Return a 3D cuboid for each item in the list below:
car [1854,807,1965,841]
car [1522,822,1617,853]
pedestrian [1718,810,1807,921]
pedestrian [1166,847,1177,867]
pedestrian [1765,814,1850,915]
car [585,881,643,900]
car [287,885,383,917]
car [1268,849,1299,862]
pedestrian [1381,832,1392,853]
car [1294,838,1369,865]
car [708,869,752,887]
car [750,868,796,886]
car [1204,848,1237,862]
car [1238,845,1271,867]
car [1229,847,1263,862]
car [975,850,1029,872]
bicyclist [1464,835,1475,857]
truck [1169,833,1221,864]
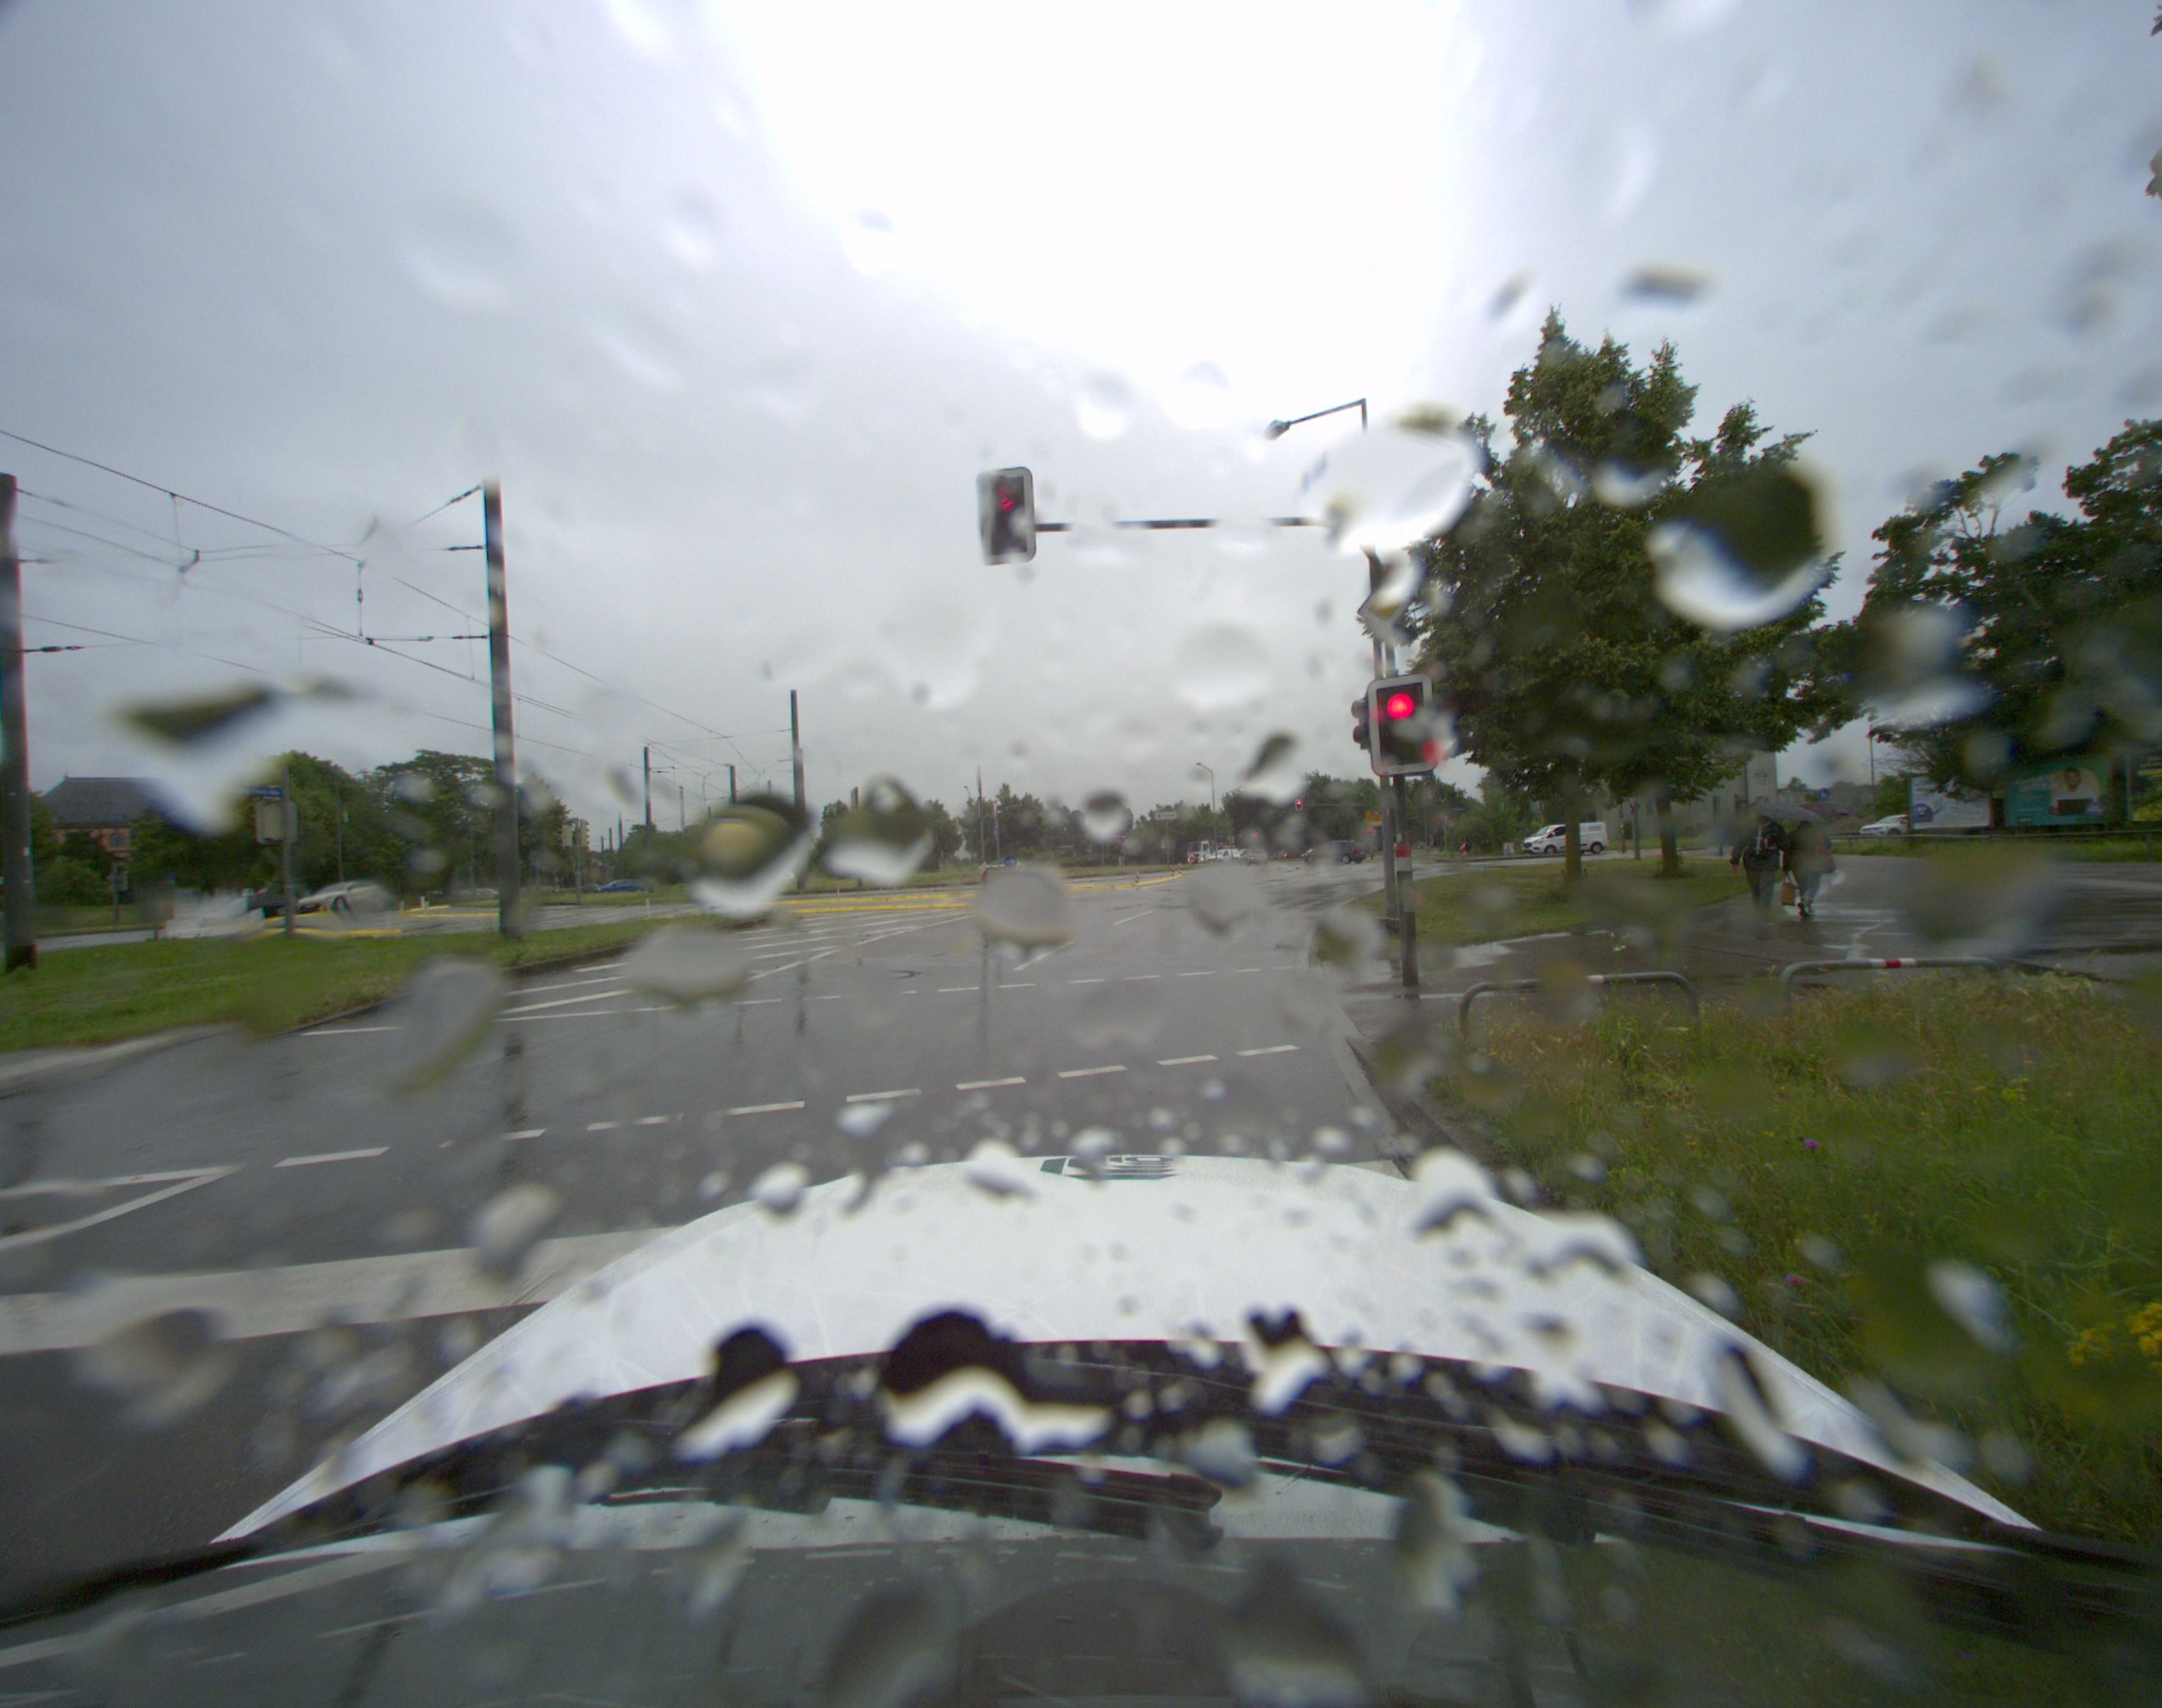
[{"bbox_3d":[52.617,-1.863,51.794,4.736,1.851,2.003,-3,0,6],"label":"car"},{"bbox_3d":[30.797,-1.035,51.446,4.740,1.851,2.001,0,-1,3],"label":"car"},{"bbox_3d":[9.653,0.162,11.561,0.619,1.522,0.741,-1,0,0],"label":"pedestrian"},{"bbox_3d":[6.027,0.227,54.324,0.448,1.304,0.489,-3,-1,40],"label":"pedestrian"},{"bbox_3d":[10.995,0.162,12.338,0.678,1.461,0.573,-3,-1,-3],"label":"pedestrian"},{"bbox_3d":[-40.733,3.154,71.098,1.603,1.454,4.012,-3,0,43],"label":"car"},{"bbox_3d":[-41.420,2.569,45.327,1.614,1.454,4.109,-2,0,-3],"label":"car"},{"bbox_3d":[25.387,0.218,102.089,1.779,1.662,4.436,-1,-1,43],"label":"car"},{"bbox_3d":[27.516,-0.996,73.291,0.811,1.868,0.670,0,-1,9],"label":"pedestrian"},{"bbox_3d":[17.748,-0.137,57.796,4.715,1.851,2.012,-1,-1,41],"label":"car"},{"bbox_3d":[-37.101,2.505,86.220,1.660,1.816,4.025,-1,-1,31],"label":"car"},{"bbox_3d":[-29.049,2.132,76.967,3.987,1.454,1.613,-2,0,-19],"label":"car"},{"bbox_3d":[16.447,0.159,95.917,1.779,1.662,4.159,-1,-1,43],"label":"car"},{"bbox_3d":[14.975,0.214,70.585,1.985,1.851,4.778,0,-1,2],"label":"car"},{"bbox_3d":[19.106,0.118,94.330,1.779,1.662,4.436,-1,-1,43],"label":"car"},{"bbox_3d":[-7.556,0.654,77.910,4.716,1.851,2.012,-2,0,26],"label":"car"},{"bbox_3d":[31.066,-0.623,65.058,0.496,1.742,0.587,0,-1,-21],"label":"bicyclist"},{"bbox_3d":[10.438,-0.412,74.011,2.439,2.686,8.105,-1,-1,25],"label":"truck"}]
